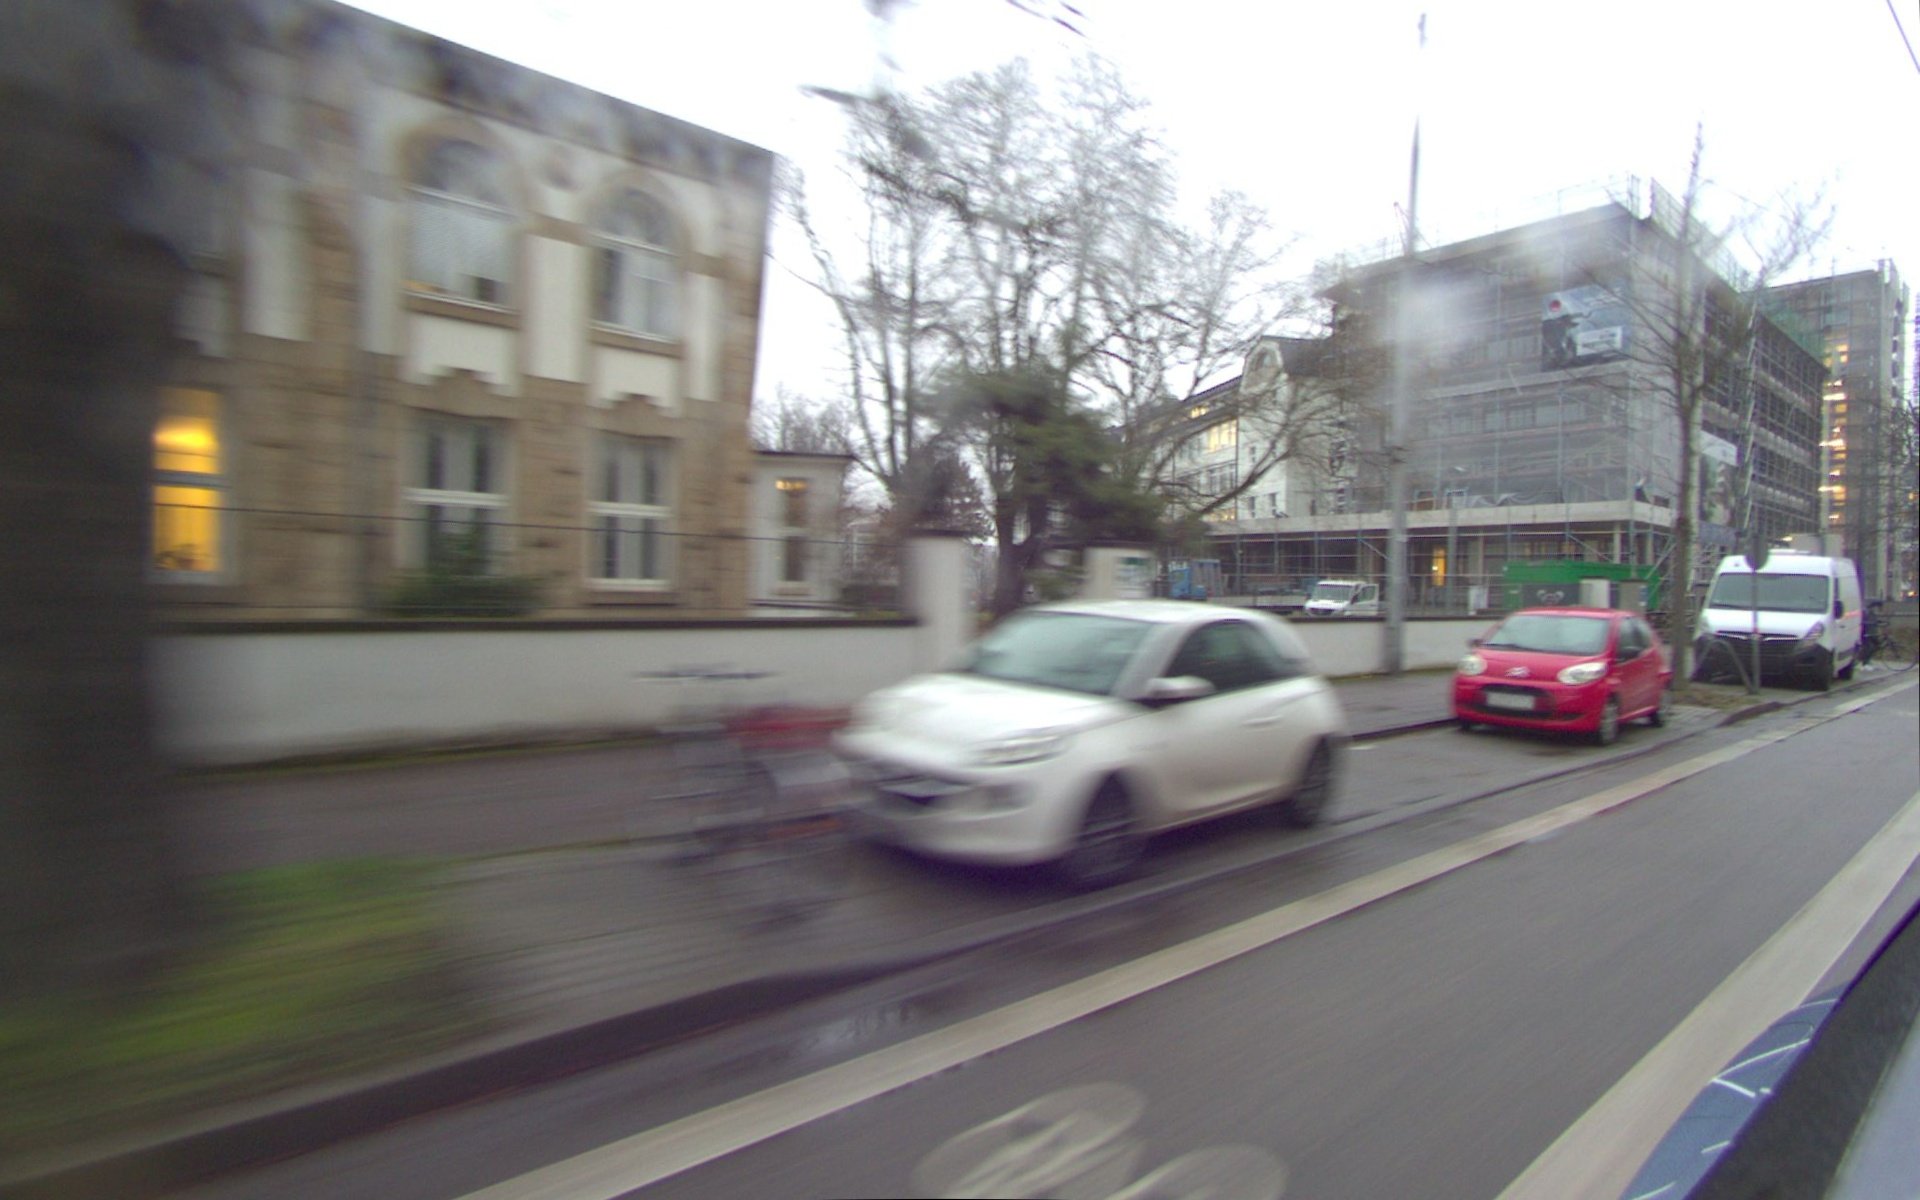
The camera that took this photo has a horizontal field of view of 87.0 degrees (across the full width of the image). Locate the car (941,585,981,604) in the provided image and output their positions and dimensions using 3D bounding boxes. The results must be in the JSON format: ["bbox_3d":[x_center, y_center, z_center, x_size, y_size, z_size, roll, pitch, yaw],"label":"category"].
[{"bbox_3d":[0.044,-0.505,91.370,3.240,1.542,1.708,2,0,-14],"label":"car"}]

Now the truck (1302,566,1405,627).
[{"bbox_3d":[18.296,-0.220,46.808,2.125,2.620,6.974,2,2,42],"label":"truck"}]

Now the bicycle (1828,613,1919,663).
[{"bbox_3d":[22.615,0.920,24.880,1.884,1.147,0.720,2,1,39],"label":"bicycle"}]

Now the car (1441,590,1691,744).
[{"bbox_3d":[7.277,0.690,12.030,3.512,1.543,1.645,1,0,-43],"label":"car"}]

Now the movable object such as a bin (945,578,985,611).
[{"bbox_3d":[0.213,-0.224,43.055,1.297,1.333,1.064,3,0,-30],"label":"movable object such as a bin"}]

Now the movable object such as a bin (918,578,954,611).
[{"bbox_3d":[-1.009,-0.250,42.589,1.280,1.330,0.990,2,0,-17],"label":"movable object such as a bin"}]

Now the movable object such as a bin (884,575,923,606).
[{"bbox_3d":[-2.359,-0.396,42.233,1.408,1.240,0.990,2,0,-17],"label":"movable object such as a bin"}]

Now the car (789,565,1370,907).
[{"bbox_3d":[0.915,0.613,6.403,3.574,1.539,1.694,1,1,-42],"label":"car"}]

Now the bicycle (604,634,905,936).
[{"bbox_3d":[-1.048,0.751,4.827,0.651,1.084,1.716,1,1,-40],"label":"bicycle"}]

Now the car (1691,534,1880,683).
[{"bbox_3d":[16.158,0.153,19.686,5.346,2.518,2.127,1,1,-43],"label":"car"}]

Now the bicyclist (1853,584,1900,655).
[{"bbox_3d":[22.569,0.472,24.928,0.767,1.710,0.697,2,0,38],"label":"bicyclist"}]
